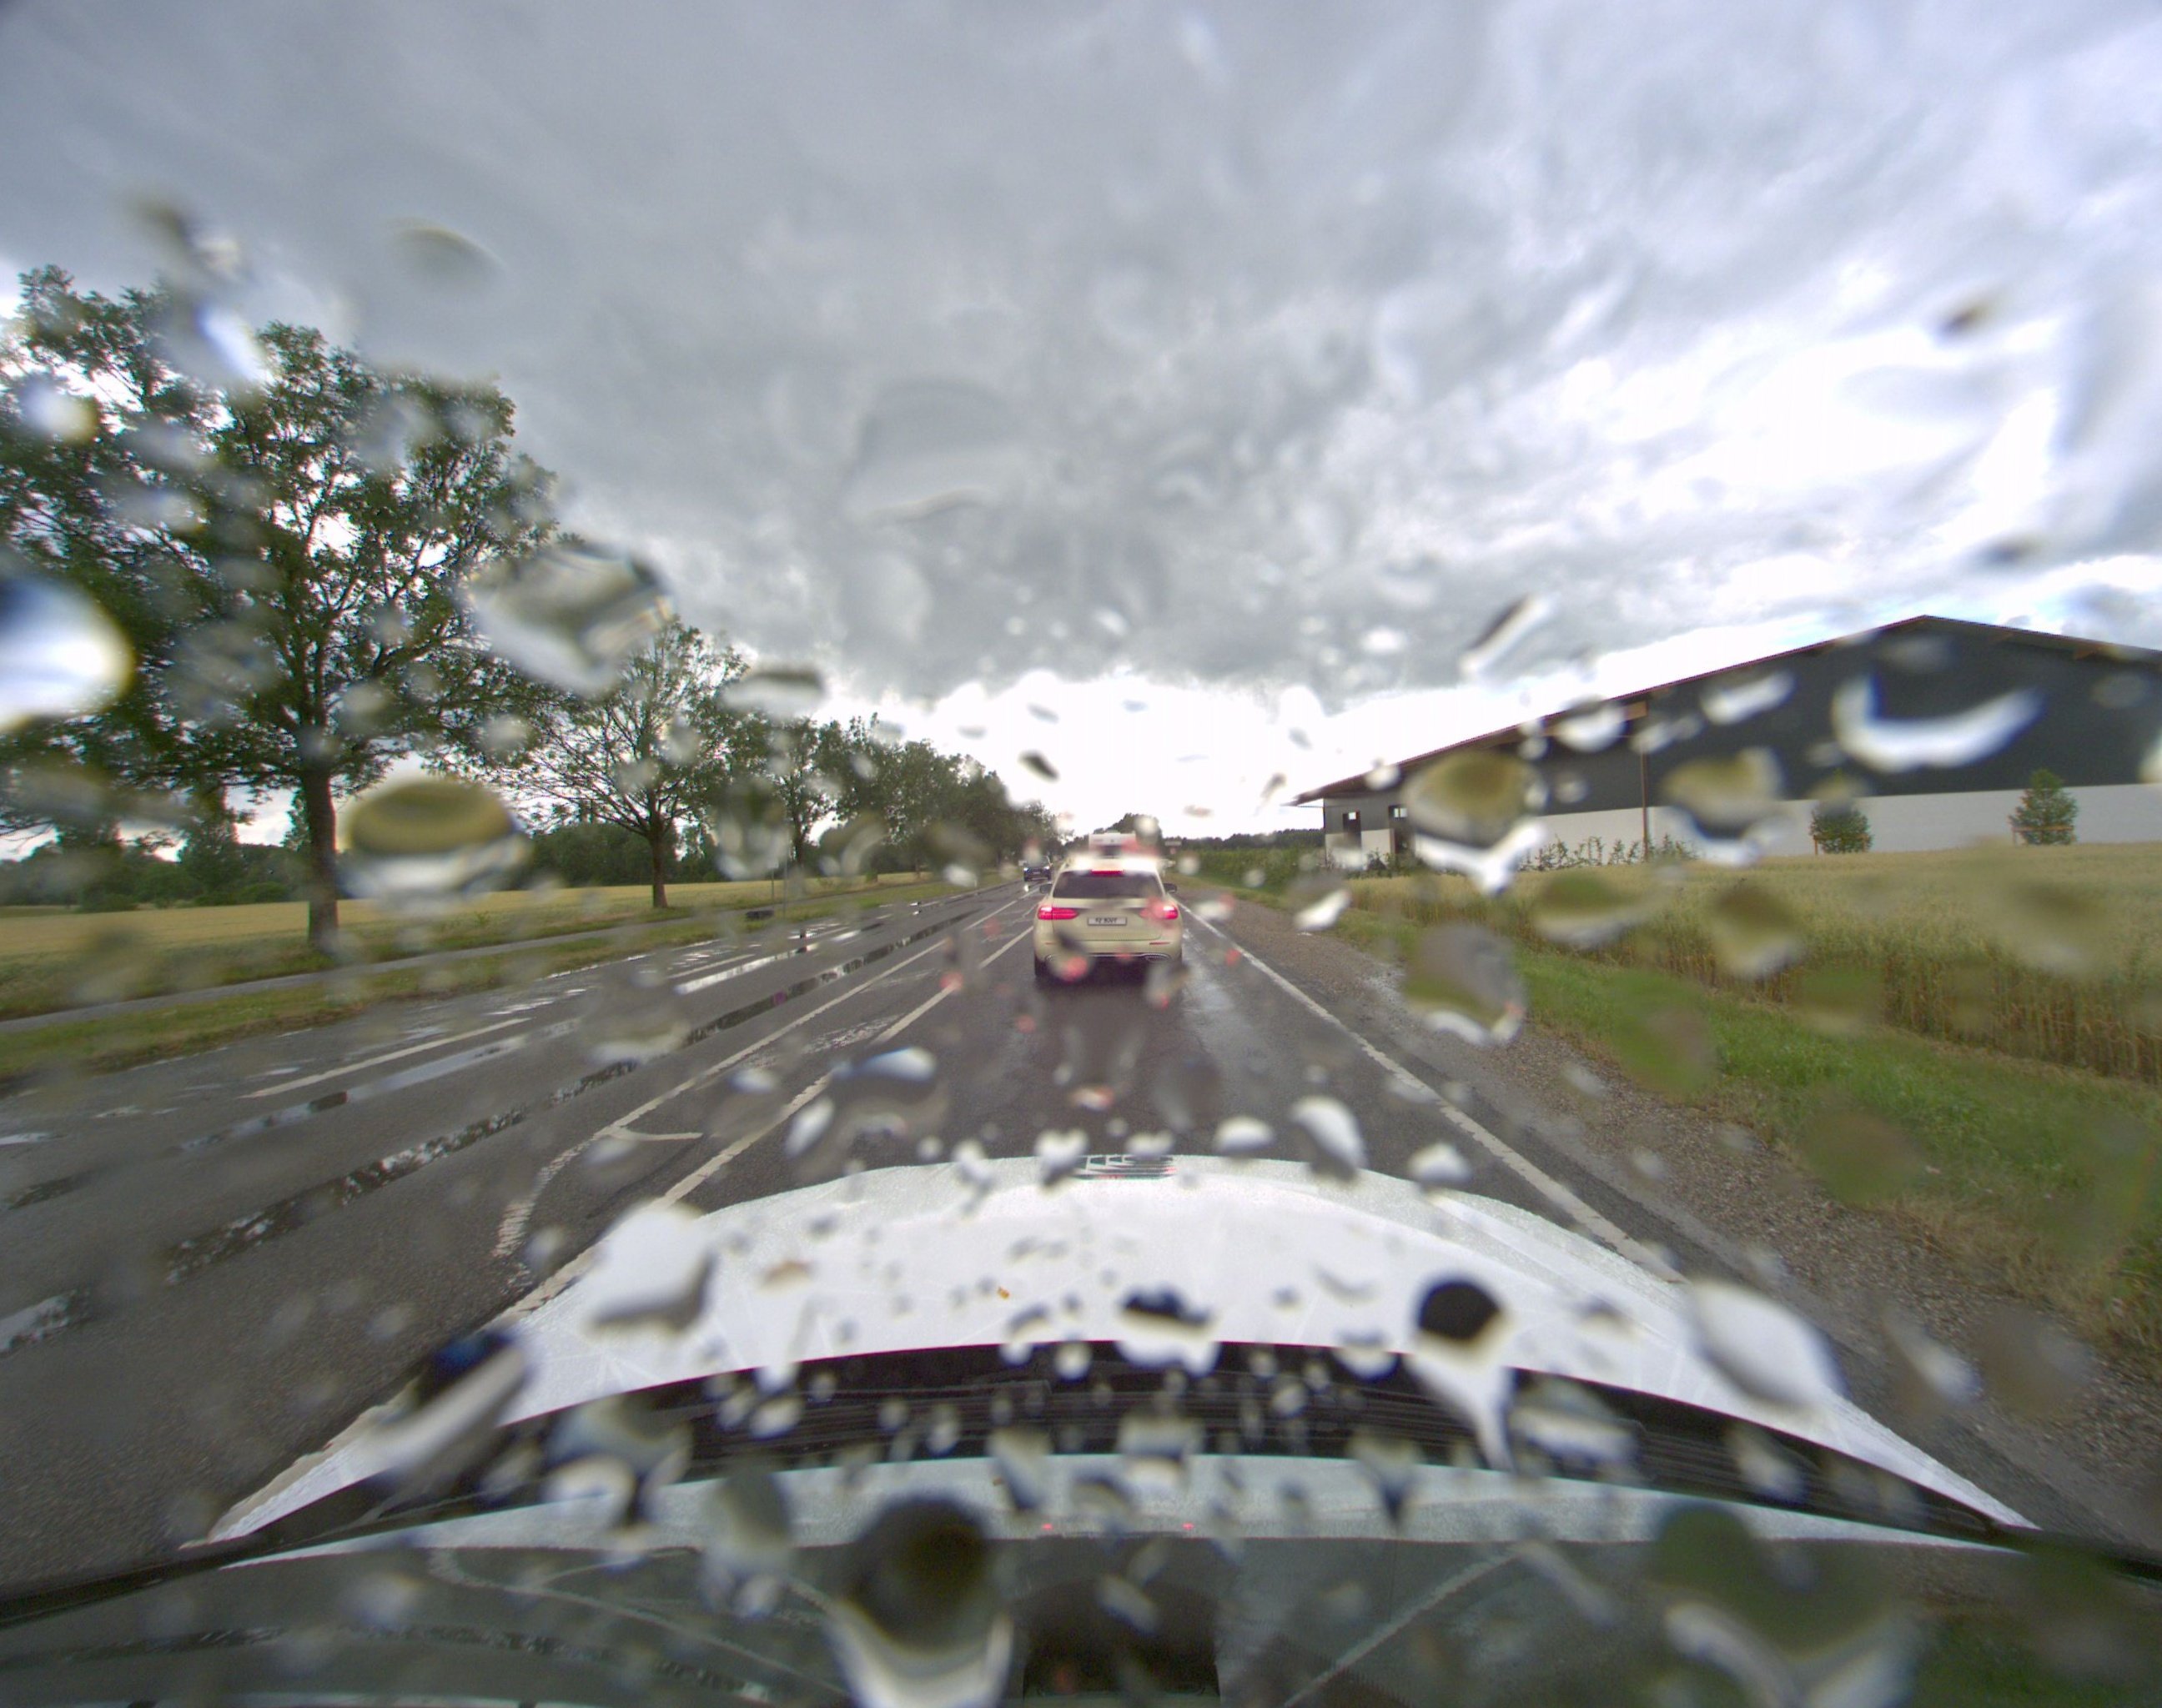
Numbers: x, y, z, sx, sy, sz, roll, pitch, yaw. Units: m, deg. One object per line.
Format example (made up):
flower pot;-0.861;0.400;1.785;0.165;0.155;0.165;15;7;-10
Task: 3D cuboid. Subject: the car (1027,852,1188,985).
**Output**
car;0.387;0.730;11.191;1.790;1.464;4.033;-1;0;2

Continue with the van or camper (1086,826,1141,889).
van or camper;1.701;0.171;41.455;2.487;2.831;5.938;-3;0;3

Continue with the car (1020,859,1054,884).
car;-3.011;1.189;56.772;1.909;1.632;4.359;-1;0;2

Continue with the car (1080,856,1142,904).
car;0.986;0.812;27.021;1.887;1.429;3.929;-1;0;1
